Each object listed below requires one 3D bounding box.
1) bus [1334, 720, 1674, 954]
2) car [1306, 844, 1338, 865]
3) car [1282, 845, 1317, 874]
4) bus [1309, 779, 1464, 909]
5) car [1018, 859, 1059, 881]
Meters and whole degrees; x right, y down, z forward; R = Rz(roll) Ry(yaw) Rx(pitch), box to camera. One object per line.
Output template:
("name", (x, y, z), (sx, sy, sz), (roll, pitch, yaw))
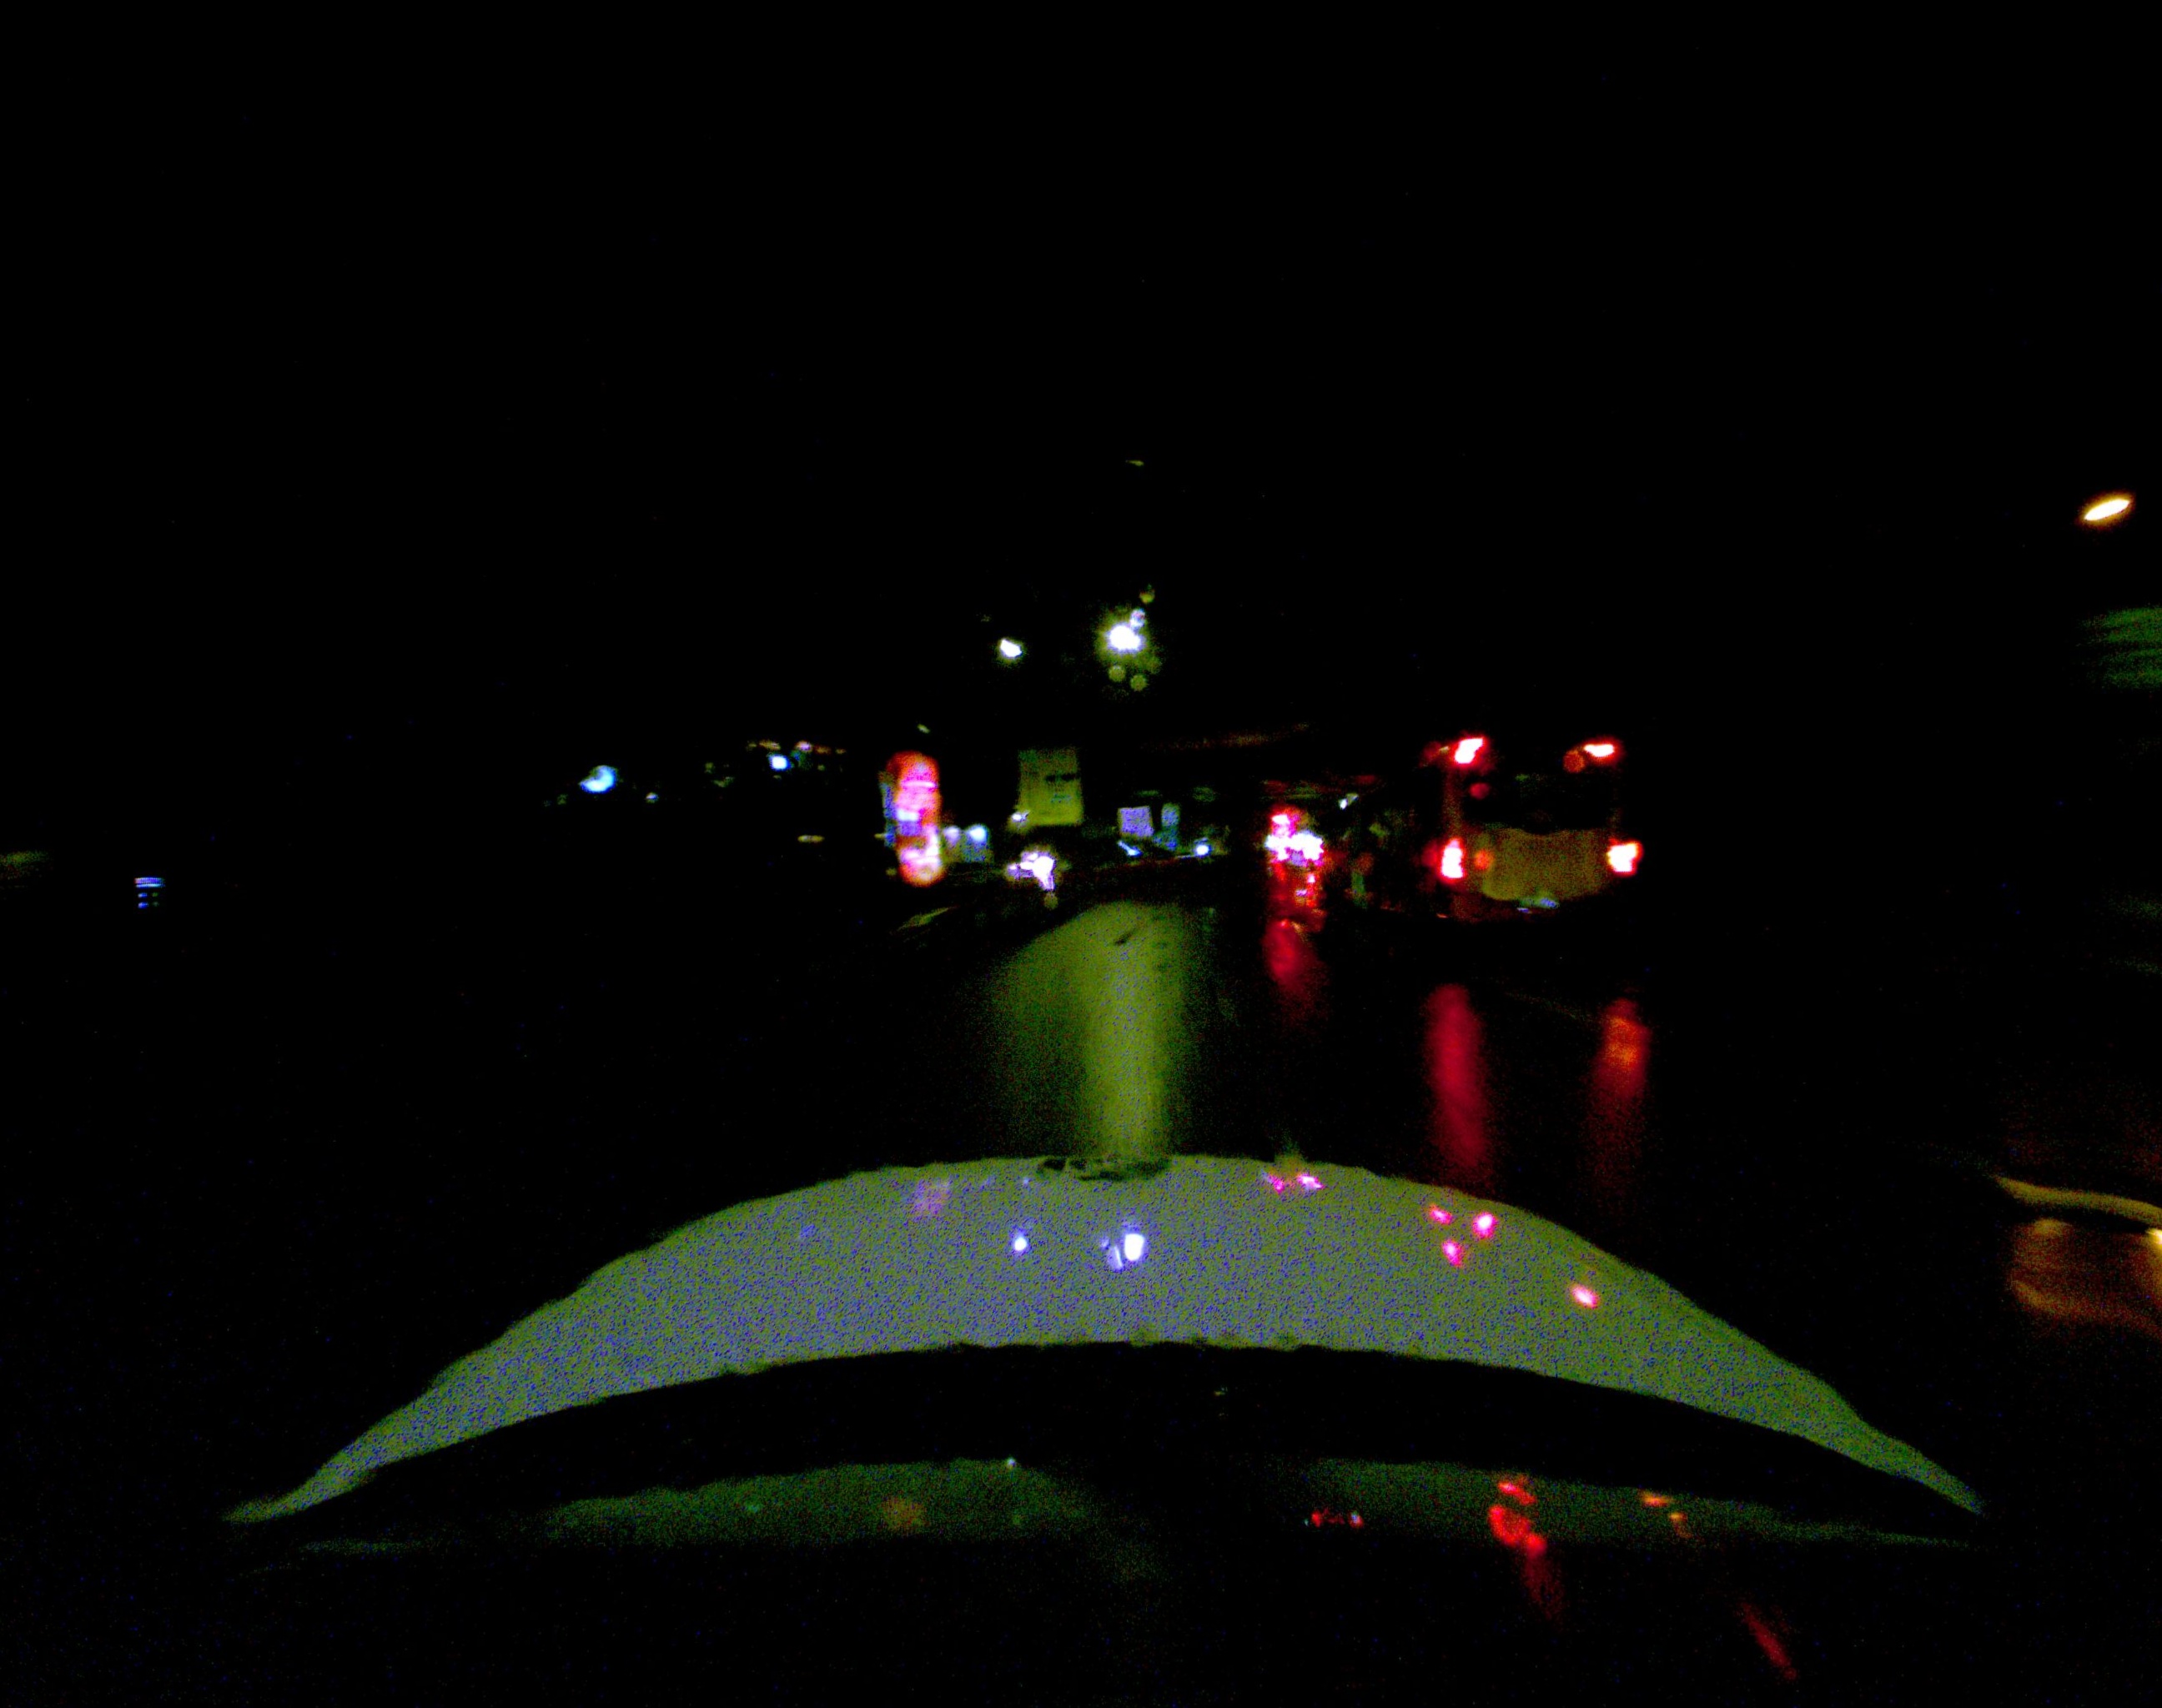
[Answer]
("bus", (7.266, -0.270, 15.864), (3.026, 3.212, 9.071), (1, 0, 8))
("car", (20.163, 0.057, 68.075), (1.771, 1.684, 4.024), (-1, 0, 27))
("car", (13.206, 0.310, 49.080), (1.773, 1.684, 4.018), (-1, 0, 18))
("bus", (8.870, -0.284, 24.836), (3.023, 3.212, 9.079), (1, 0, 12))
("car", (-2.798, 1.043, 54.715), (1.555, 1.427, 3.968), (-1, 0, 15))
